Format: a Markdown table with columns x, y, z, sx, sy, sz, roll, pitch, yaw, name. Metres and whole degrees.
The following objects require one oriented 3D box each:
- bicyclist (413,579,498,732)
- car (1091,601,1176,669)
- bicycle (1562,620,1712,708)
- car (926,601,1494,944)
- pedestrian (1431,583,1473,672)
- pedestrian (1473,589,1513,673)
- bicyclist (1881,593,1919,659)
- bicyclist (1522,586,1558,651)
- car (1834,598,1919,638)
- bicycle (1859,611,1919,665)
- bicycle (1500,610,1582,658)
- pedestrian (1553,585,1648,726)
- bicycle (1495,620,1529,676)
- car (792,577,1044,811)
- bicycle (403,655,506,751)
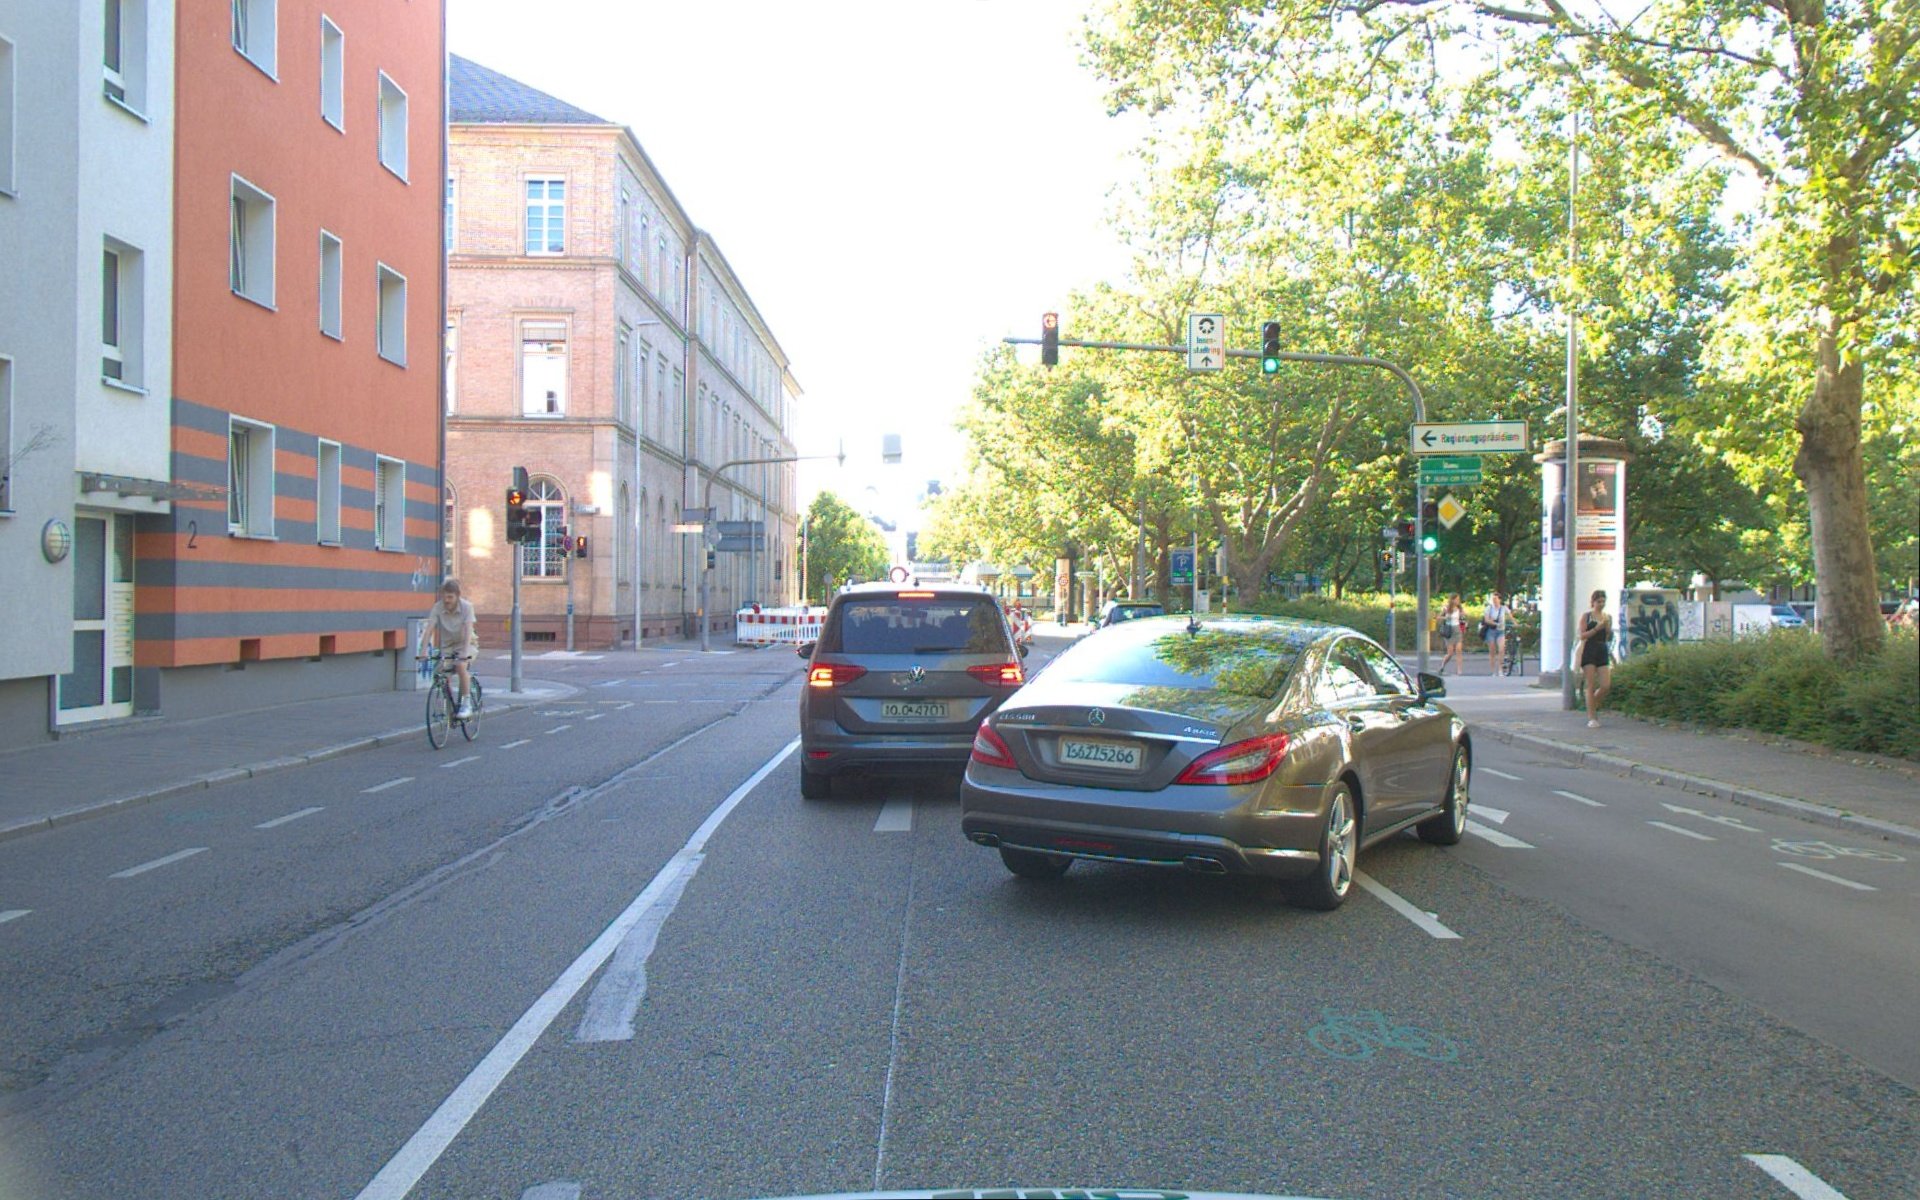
| x | y | z | sx | sy | sz | roll | pitch | yaw | name |
| --- | --- | --- | --- | --- | --- | --- | --- | --- | --- |
| -5.364 | 0.578 | 17.616 | 0.635 | 1.586 | 0.806 | 1 | -1 | -2 | bicyclist |
| 3.979 | 0.783 | 38.405 | 1.654 | 1.465 | 3.902 | 1 | 0 | 2 | car |
| 9.694 | 0.915 | 23.691 | 1.936 | 1.210 | 0.528 | 1 | -1 | -2 | bicycle |
| 1.710 | 0.770 | 9.559 | 1.808 | 1.454 | 4.510 | 1 | 0 | 29 | car |
| 10.343 | 0.579 | 34.814 | 0.716 | 1.840 | 0.910 | -1 | -1 | 10 | pedestrian |
| 11.138 | 0.644 | 34.581 | 0.668 | 1.727 | 0.971 | 1 | -1 | 12 | pedestrian |
| 24.154 | 0.655 | 42.111 | 0.944 | 1.644 | 0.870 | 1 | -1 | 1 | bicyclist |
| 15.583 | 0.504 | 44.443 | 0.695 | 1.727 | 0.675 | 1 | -1 | -1 | bicyclist |
| 36.257 | 0.706 | 65.084 | 1.596 | 1.508 | 3.794 | 1 | 0 | -2 | car |
| 24.201 | 0.963 | 42.108 | 2.242 | 1.349 | 0.660 | 1 | -1 | 0 | bicycle |
| 15.592 | 0.916 | 44.430 | 1.989 | 1.242 | 0.599 | 1 | -1 | -1 | bicycle |
| 7.818 | 0.670 | 20.224 | 0.782 | 1.659 | 0.907 | -1 | -1 | 0 | pedestrian |
| 11.508 | 0.986 | 34.525 | 0.513 | 1.119 | 1.742 | 1 | 0 | 14 | bicycle |
| -0.267 | 0.671 | 13.650 | 1.772 | 1.641 | 4.000 | 0 | 0 | 1 | car |
| -5.374 | 1.076 | 17.683 | 0.537 | 0.906 | 1.867 | 1 | 0 | -1 | bicycle |
